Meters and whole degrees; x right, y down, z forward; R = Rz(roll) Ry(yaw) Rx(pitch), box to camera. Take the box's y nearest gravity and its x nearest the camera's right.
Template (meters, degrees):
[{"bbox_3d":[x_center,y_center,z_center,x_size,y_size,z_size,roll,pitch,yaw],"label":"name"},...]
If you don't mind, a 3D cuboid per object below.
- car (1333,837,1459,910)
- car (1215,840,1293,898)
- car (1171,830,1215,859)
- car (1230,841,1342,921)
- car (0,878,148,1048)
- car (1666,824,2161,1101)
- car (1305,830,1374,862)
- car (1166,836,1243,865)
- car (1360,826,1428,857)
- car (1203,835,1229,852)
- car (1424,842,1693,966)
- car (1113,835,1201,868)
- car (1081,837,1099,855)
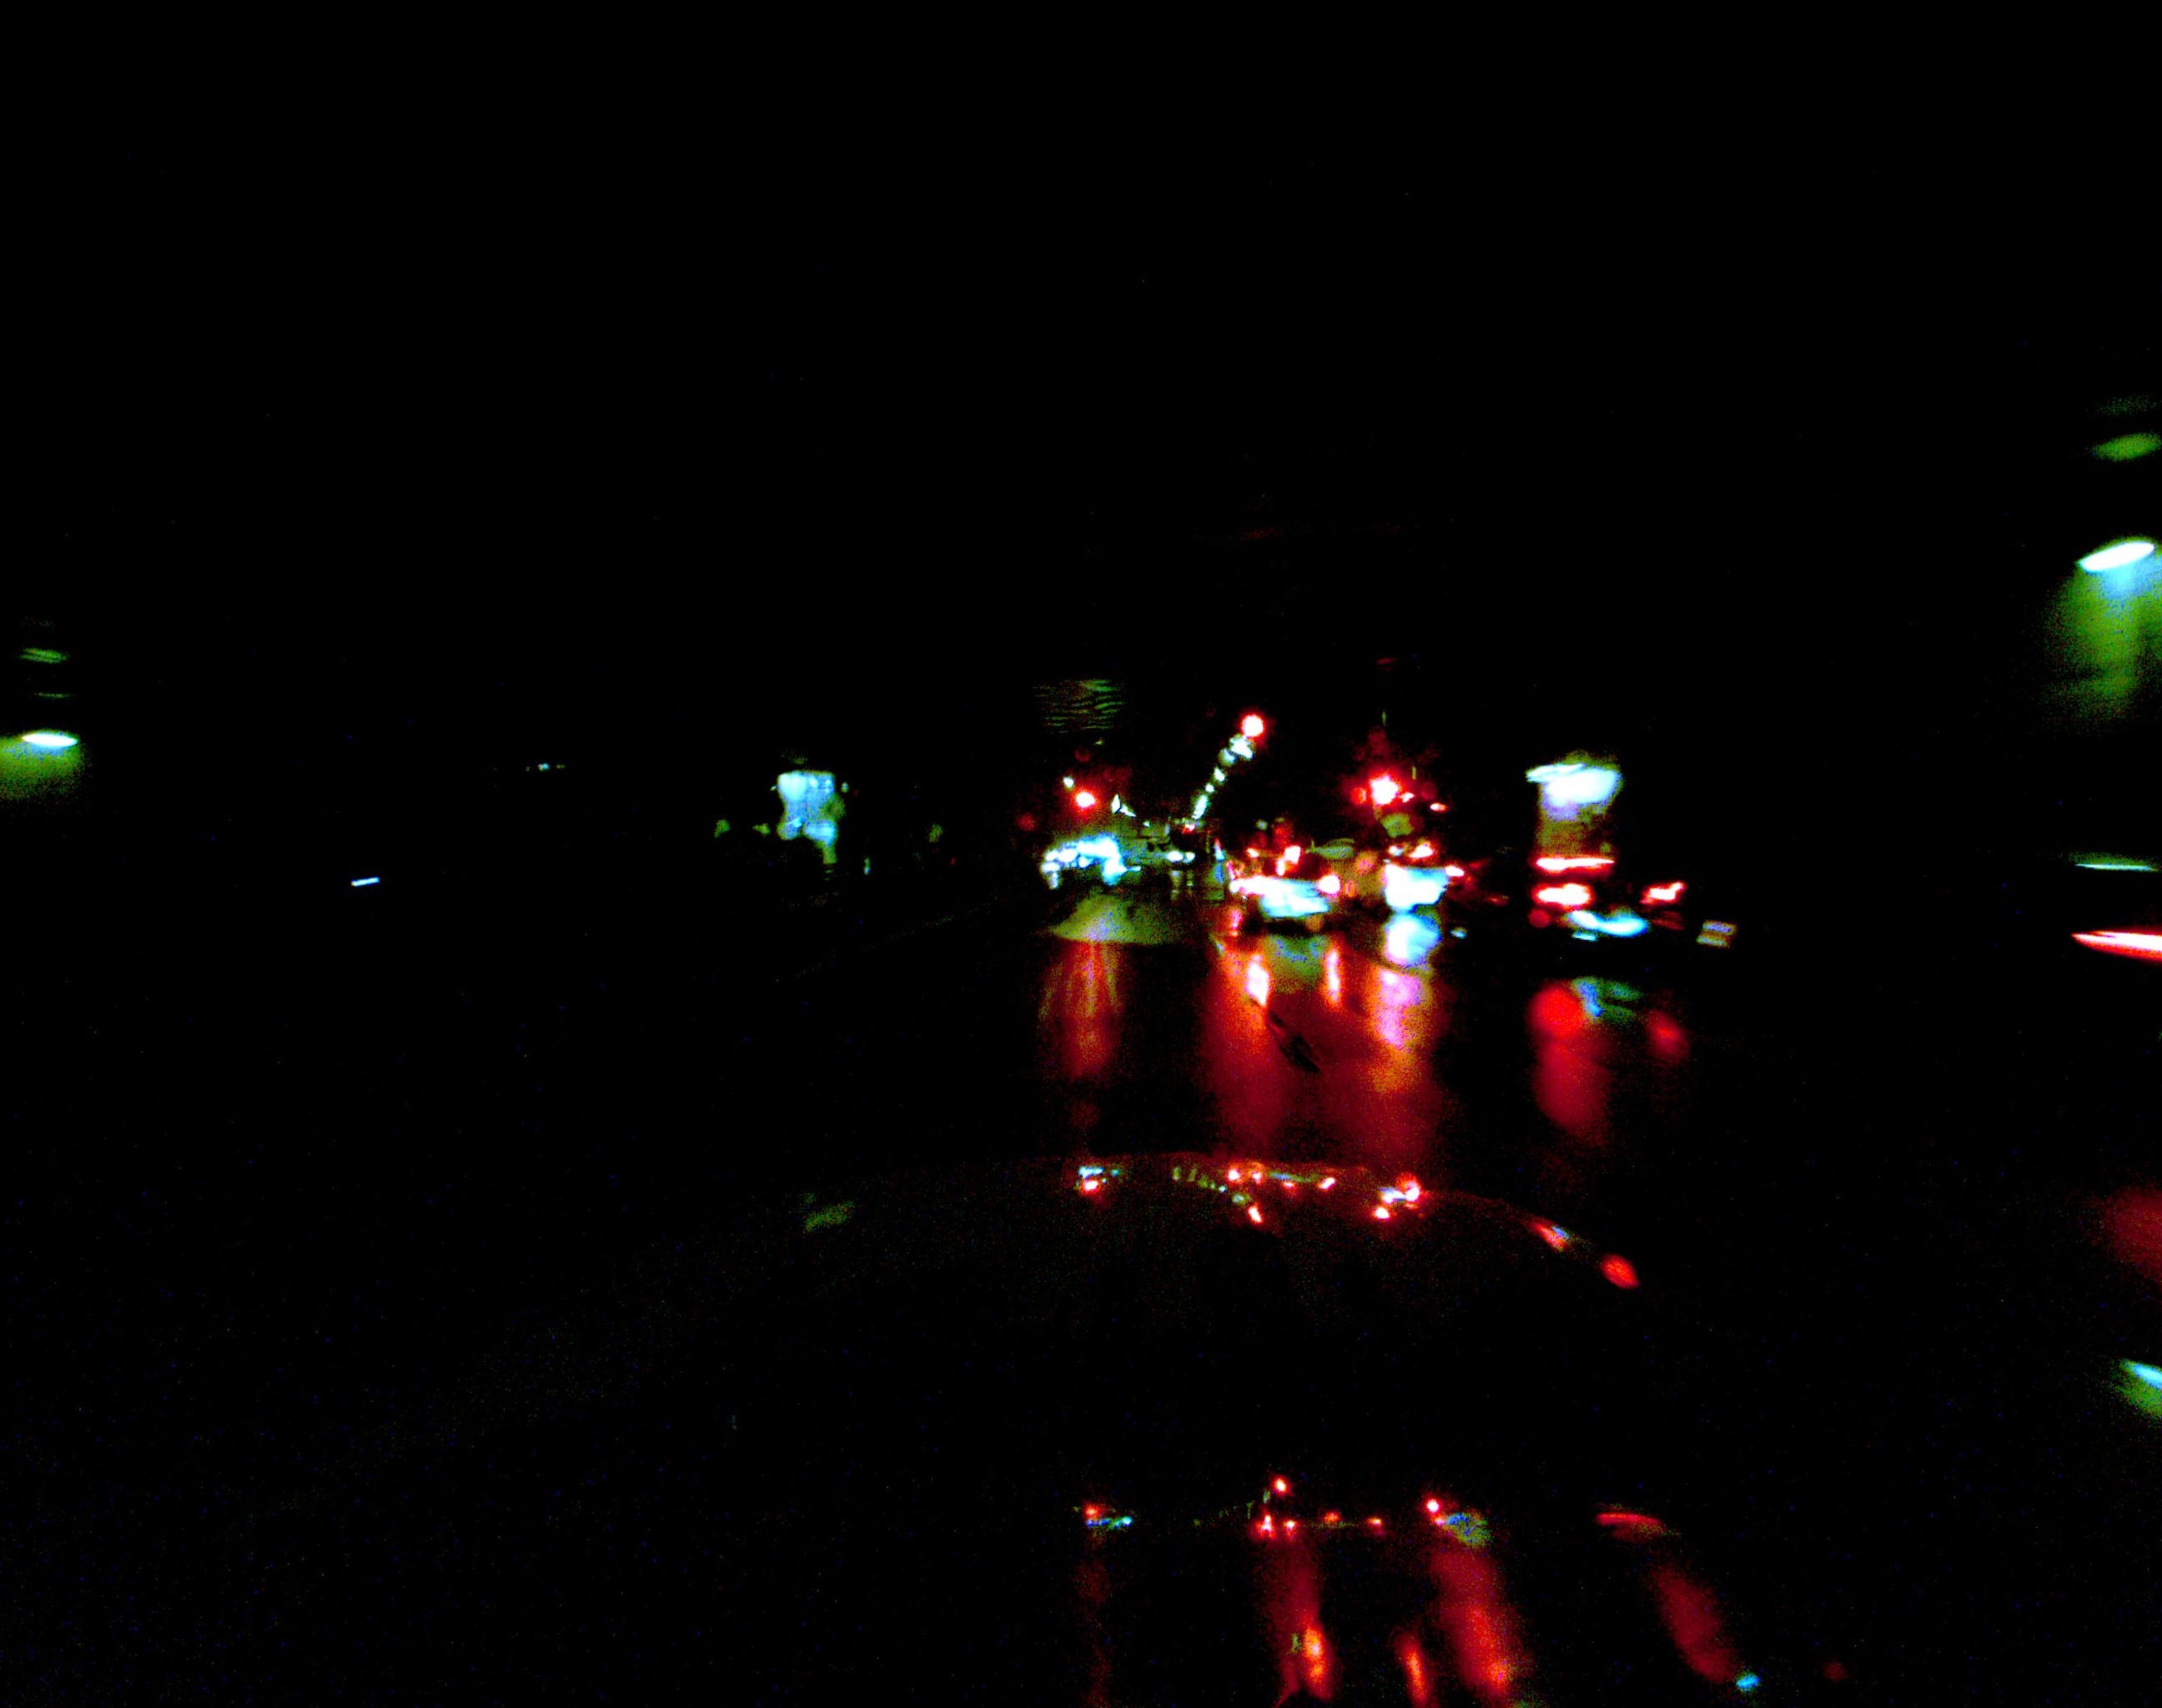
[{"bbox_3d":[7.265,0.401,19.236,1.711,1.446,4.170,-3,0,6],"label":"car"},{"bbox_3d":[4.929,0.387,23.711,1.711,1.446,4.390,-3,0,6],"label":"car"},{"bbox_3d":[8.812,-0.714,64.482,2.436,2.194,5.072,-1,0,-4],"label":"car"},{"bbox_3d":[4.194,0.489,17.217,1.711,1.446,4.170,-2,0,6],"label":"car"},{"bbox_3d":[-10.933,1.076,6.597,1.590,1.536,4.315,-3,0,3],"label":"car"},{"bbox_3d":[6.894,0.572,6.374,1.713,1.487,4.165,-3,0,3],"label":"car"},{"bbox_3d":[17.144,-0.500,54.013,4.256,2.013,2.055,-1,0,20],"label":"car"},{"bbox_3d":[7.466,-0.202,49.497,4.327,1.623,1.848,-1,0,45],"label":"car"},{"bbox_3d":[21.500,-0.860,56.053,4.257,2.013,2.055,-1,0,19],"label":"car"},{"bbox_3d":[12.916,-0.971,78.118,2.081,1.545,4.312,-1,0,5],"label":"car"},{"bbox_3d":[6.915,0.606,12.479,1.711,1.487,4.795,-2,0,6],"label":"car"},{"bbox_3d":[4.298,-0.125,46.694,4.776,1.769,1.848,-1,0,39],"label":"car"},{"bbox_3d":[0.863,-0.752,80.436,1.711,1.734,3.765,-1,0,1],"label":"car"}]
